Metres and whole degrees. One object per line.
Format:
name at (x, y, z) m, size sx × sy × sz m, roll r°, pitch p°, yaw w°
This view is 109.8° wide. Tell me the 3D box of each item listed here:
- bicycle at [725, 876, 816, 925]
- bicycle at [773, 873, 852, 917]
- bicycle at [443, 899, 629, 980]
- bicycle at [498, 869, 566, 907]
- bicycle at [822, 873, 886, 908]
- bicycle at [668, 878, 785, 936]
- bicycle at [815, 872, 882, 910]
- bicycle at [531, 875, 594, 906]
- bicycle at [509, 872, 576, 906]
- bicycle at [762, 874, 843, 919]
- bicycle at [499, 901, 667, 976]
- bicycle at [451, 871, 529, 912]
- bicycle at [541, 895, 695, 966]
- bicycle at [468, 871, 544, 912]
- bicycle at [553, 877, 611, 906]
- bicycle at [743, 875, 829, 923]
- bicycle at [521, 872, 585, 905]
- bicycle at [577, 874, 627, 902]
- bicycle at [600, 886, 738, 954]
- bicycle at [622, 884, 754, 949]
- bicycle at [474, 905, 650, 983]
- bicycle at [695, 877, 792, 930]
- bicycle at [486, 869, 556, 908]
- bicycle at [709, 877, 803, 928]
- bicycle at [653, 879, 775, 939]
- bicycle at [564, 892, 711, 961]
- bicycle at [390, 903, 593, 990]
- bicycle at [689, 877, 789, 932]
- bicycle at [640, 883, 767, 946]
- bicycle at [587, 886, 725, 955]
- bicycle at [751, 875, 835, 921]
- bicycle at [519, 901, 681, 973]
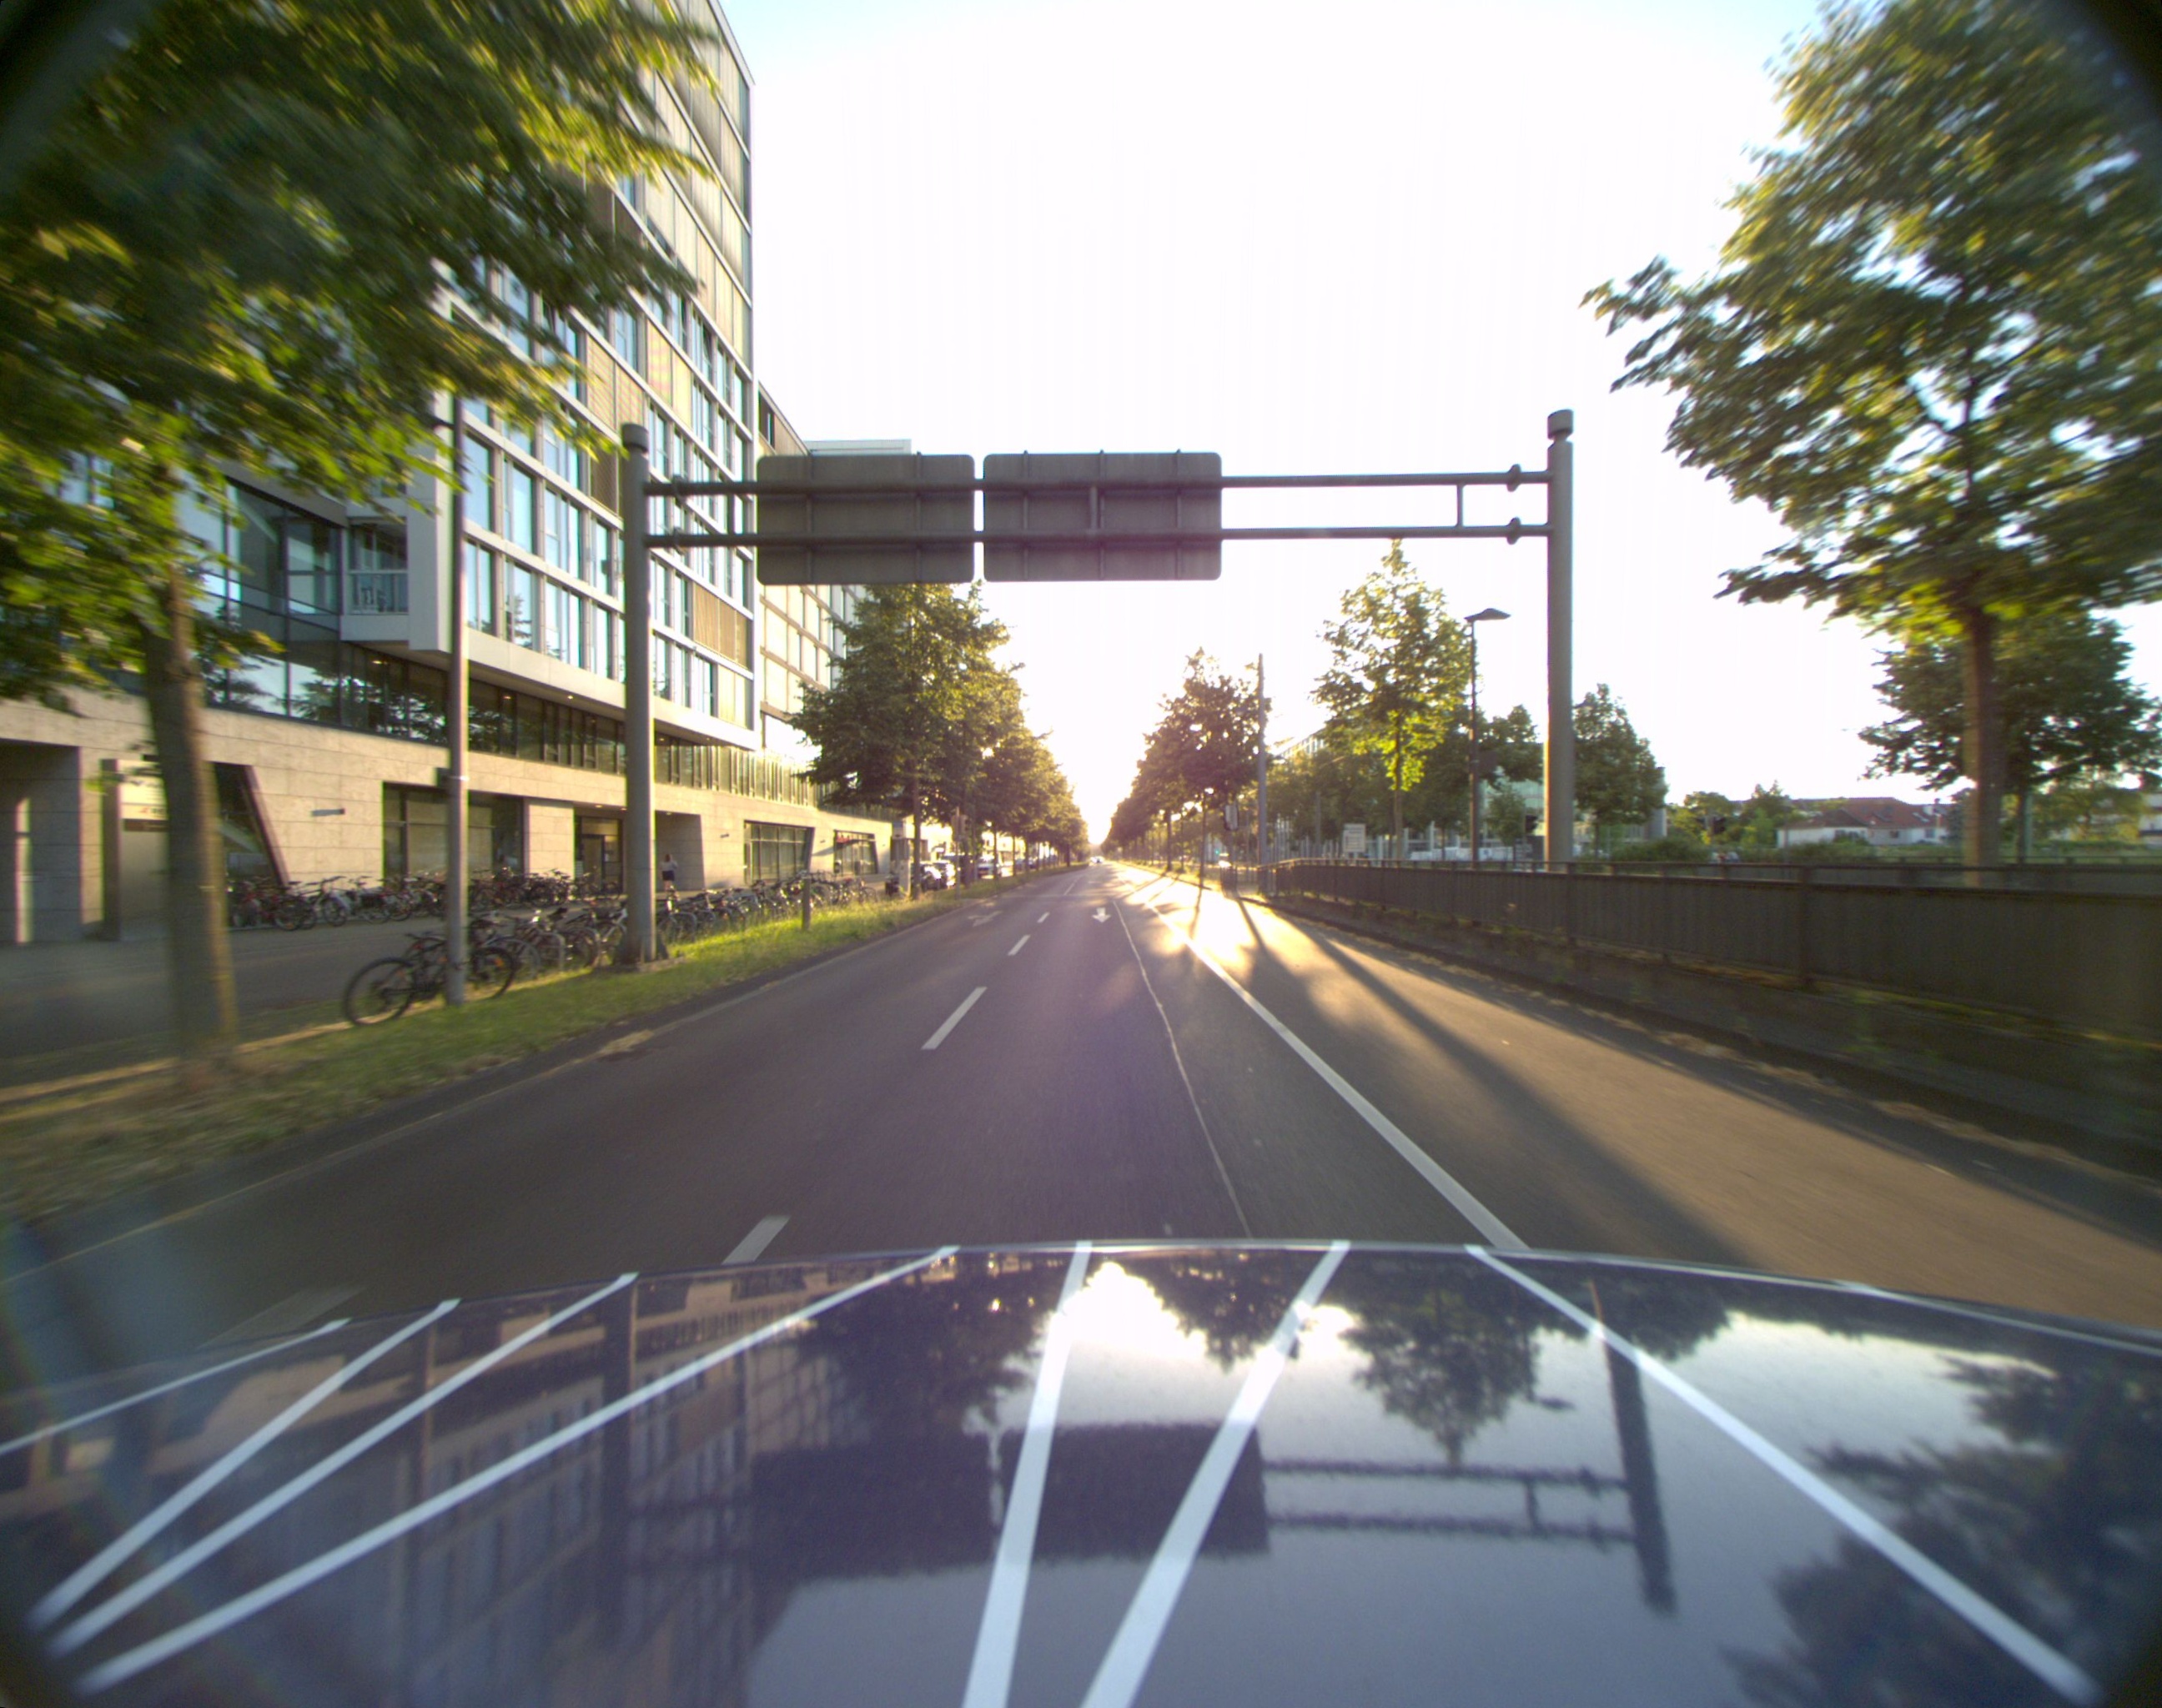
bicycle at (-7.621, 1.138, 18.702) m, size 1.947 × 1.048 × 0.414 m, roll -4°, pitch 0°, yaw -6°
bicycle at (-7.386, 1.127, 20.935) m, size 1.947 × 1.048 × 0.314 m, roll -4°, pitch 1°, yaw -6°
bicycle at (-7.658, 1.191, 10.737) m, size 2.148 × 0.934 × 0.443 m, roll -4°, pitch 0°, yaw -5°
bicycle at (-17.244, 1.068, 23.866) m, size 1.835 × 1.170 × 0.446 m, roll -1°, pitch 1°, yaw 2°
bicycle at (-7.735, 1.236, 25.884) m, size 1.946 × 1.048 × 0.545 m, roll -4°, pitch 0°, yaw 1°
bicycle at (-7.650, 1.133, 16.461) m, size 2.148 × 1.048 × 0.571 m, roll -4°, pitch 0°, yaw -5°
bicycle at (-7.414, 1.184, 24.344) m, size 1.948 × 1.048 × 0.544 m, roll -4°, pitch 0°, yaw -13°
bicycle at (-17.248, 1.208, 25.301) m, size 1.835 × 0.981 × 0.404 m, roll -1°, pitch 1°, yaw 2°
bicycle at (-17.268, 1.127, 24.381) m, size 1.835 × 1.041 × 0.446 m, roll -1°, pitch 1°, yaw 2°
bicycle at (-7.515, 1.144, 20.556) m, size 1.947 × 1.048 × 0.347 m, roll -4°, pitch 0°, yaw -6°
bicycle at (-7.623, 1.288, 11.684) m, size 2.148 × 0.934 × 0.452 m, roll -4°, pitch 0°, yaw -5°
bicycle at (-17.247, 1.092, 22.198) m, size 1.835 × 1.170 × 0.503 m, roll -1°, pitch 1°, yaw -2°
bicycle at (-7.676, 1.263, 12.644) m, size 2.148 × 0.967 × 0.443 m, roll -4°, pitch 0°, yaw -5°
bicycle at (-17.220, 1.120, 22.777) m, size 1.835 × 1.170 × 0.503 m, roll -1°, pitch 1°, yaw -2°
bicycle at (-17.126, 1.292, 26.079) m, size 1.748 × 0.947 × 0.404 m, roll -1°, pitch 1°, yaw 2°
bicycle at (-7.512, 1.142, 19.401) m, size 1.947 × 1.048 × 0.414 m, roll -4°, pitch 0°, yaw -6°
bicycle at (-17.282, 1.128, 24.868) m, size 1.835 × 1.051 × 0.404 m, roll -1°, pitch 1°, yaw 2°
bicycle at (-17.338, 1.224, 27.506) m, size 1.579 × 0.981 × 0.404 m, roll -1°, pitch 1°, yaw 2°
bicycle at (-7.580, 1.197, 14.038) m, size 2.148 × 1.048 × 0.525 m, roll -4°, pitch 0°, yaw -5°
bicycle at (-7.534, 1.196, 14.627) m, size 2.148 × 1.048 × 0.525 m, roll -4°, pitch 0°, yaw -5°
bicycle at (-7.634, 1.314, 11.231) m, size 2.148 × 0.934 × 0.443 m, roll -4°, pitch 0°, yaw -5°
bicycle at (-7.738, 1.132, 17.454) m, size 1.947 × 1.048 × 0.404 m, roll -4°, pitch 0°, yaw -5°
bicycle at (-17.215, 1.061, 23.357) m, size 1.835 × 1.170 × 0.446 m, roll -1°, pitch 1°, yaw 2°
bicycle at (-7.666, 1.131, 17.946) m, size 1.947 × 1.048 × 0.404 m, roll -4°, pitch 0°, yaw -2°
bicycle at (-7.595, 1.126, 15.773) m, size 2.148 × 1.048 × 0.562 m, roll -4°, pitch 0°, yaw -5°
bicycle at (-7.632, 1.245, 13.141) m, size 2.148 × 0.981 × 0.443 m, roll -4°, pitch 0°, yaw -5°
bicycle at (-7.879, 1.218, 10.217) m, size 2.148 × 0.934 × 0.545 m, roll -4°, pitch 0°, yaw -5°
bicycle at (-7.644, 1.122, 17.017) m, size 1.947 × 1.048 × 0.404 m, roll -4°, pitch 0°, yaw -5°
bicycle at (-7.502, 1.184, 15.156) m, size 2.148 × 1.048 × 0.571 m, roll -4°, pitch 0°, yaw -5°
bicycle at (-7.583, 1.178, 13.588) m, size 2.148 × 1.048 × 0.300 m, roll -4°, pitch 1°, yaw -5°
bicycle at (-7.551, 1.139, 19.957) m, size 1.947 × 1.048 × 0.414 m, roll -4°, pitch 0°, yaw -6°
bicycle at (-7.654, 1.308, 12.142) m, size 2.149 × 0.934 × 0.443 m, roll -4°, pitch 0°, yaw -6°
